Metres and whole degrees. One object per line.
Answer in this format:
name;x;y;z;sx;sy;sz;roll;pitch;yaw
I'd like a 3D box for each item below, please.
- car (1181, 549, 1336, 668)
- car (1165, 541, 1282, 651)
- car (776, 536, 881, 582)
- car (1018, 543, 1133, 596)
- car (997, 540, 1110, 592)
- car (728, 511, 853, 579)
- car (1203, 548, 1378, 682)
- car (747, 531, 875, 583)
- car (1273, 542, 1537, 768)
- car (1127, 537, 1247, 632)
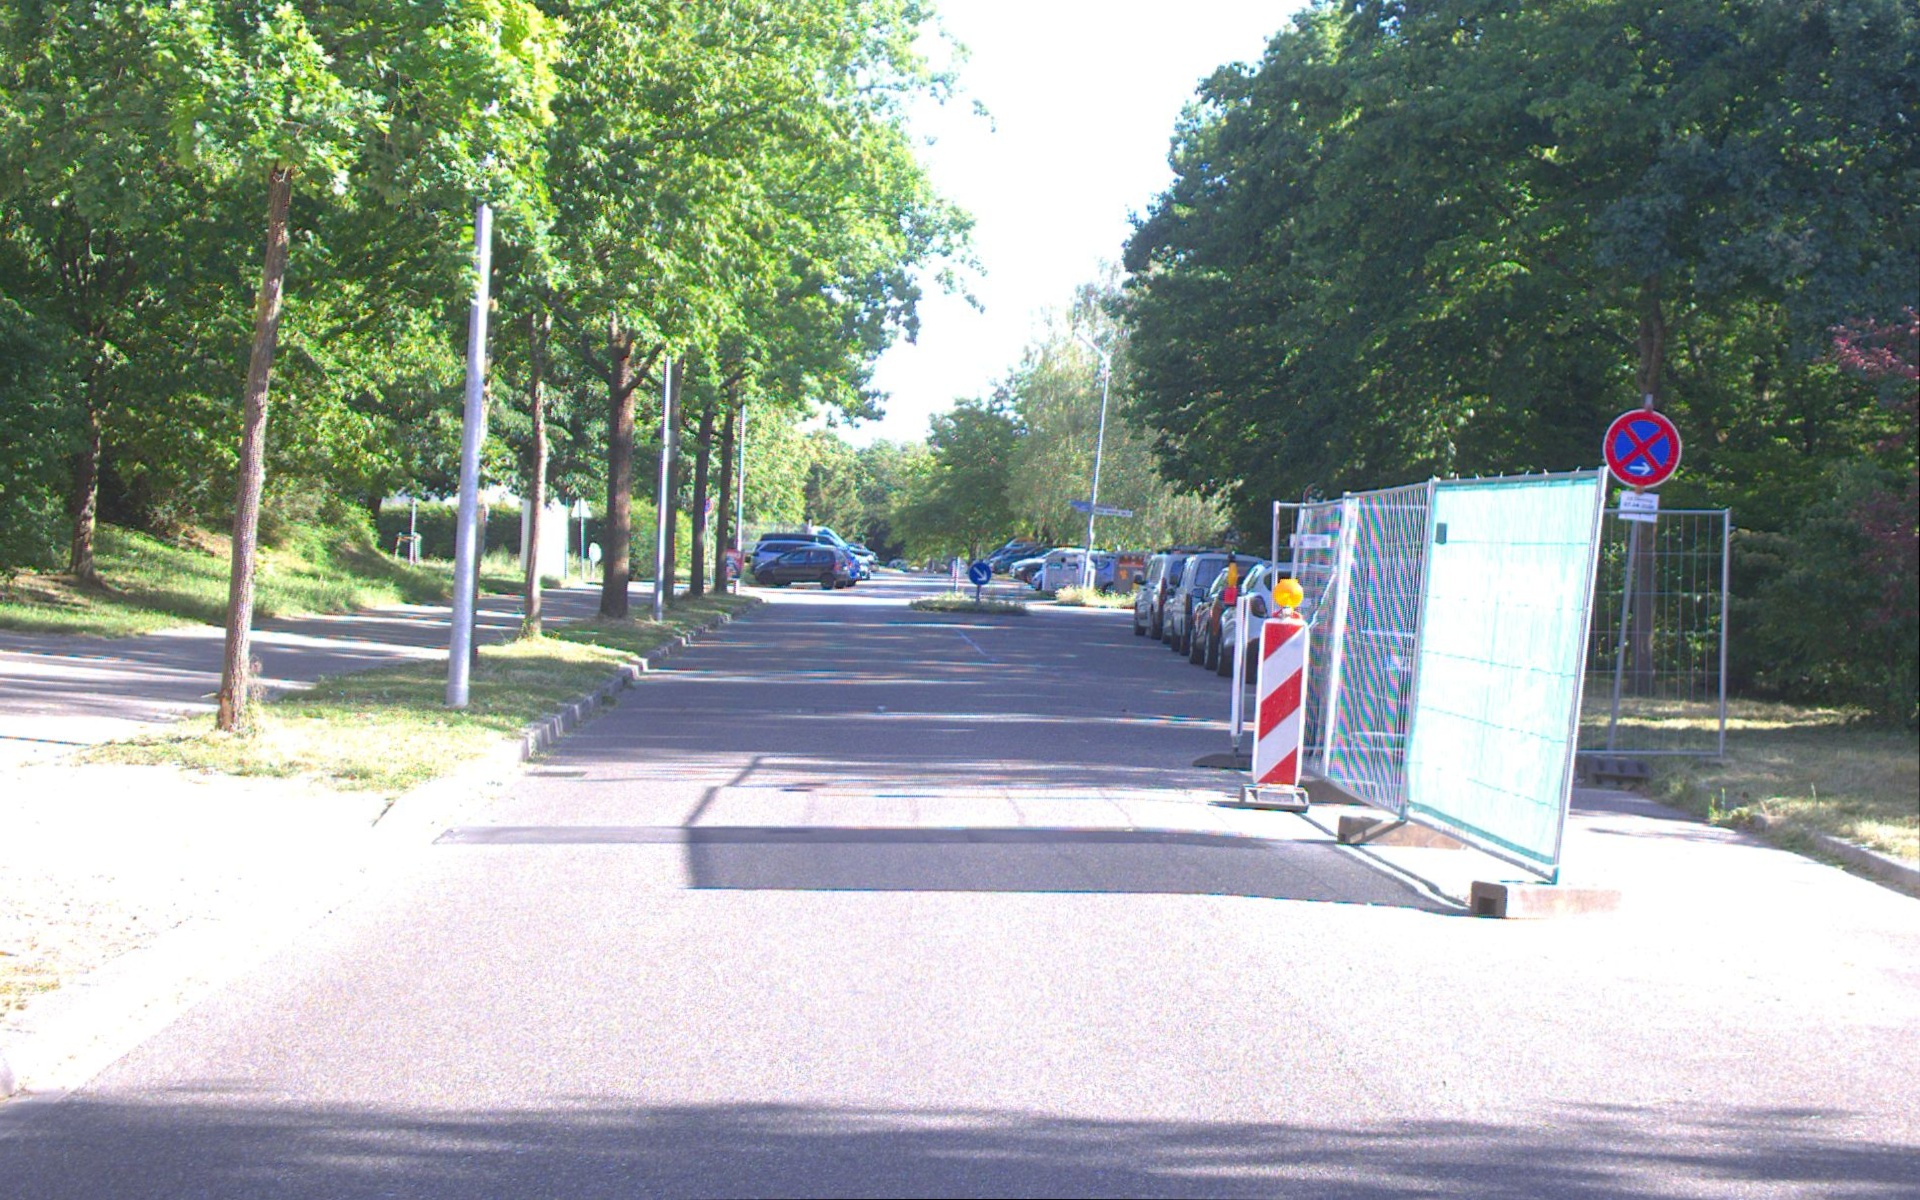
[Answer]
car;4.511;0.090;52.426;1.775;1.616;4.065;4;1;-2
car;4.587;-0.095;60.308;1.623;1.767;3.669;4;1;0
car;-5.426;-1.698;141.774;4.107;1.571;1.958;4;1;2
car;4.076;-1.078;120.965;3.839;1.571;1.688;4;1;6
car;3.392;-1.217;123.787;3.839;1.571;1.688;4;1;6
car;-7.453;-2.407;150.708;5.199;2.612;2.294;4;1;-5
car;4.473;0.164;47.073;1.775;1.616;4.065;4;1;-2
car;-5.435;-1.558;125.469;4.319;1.571;2.045;4;1;6
car;3.693;0.404;29.180;1.810;1.645;4.420;4;1;3
car;4.691;-0.346;71.567;1.790;1.779;4.558;4;1;-4
